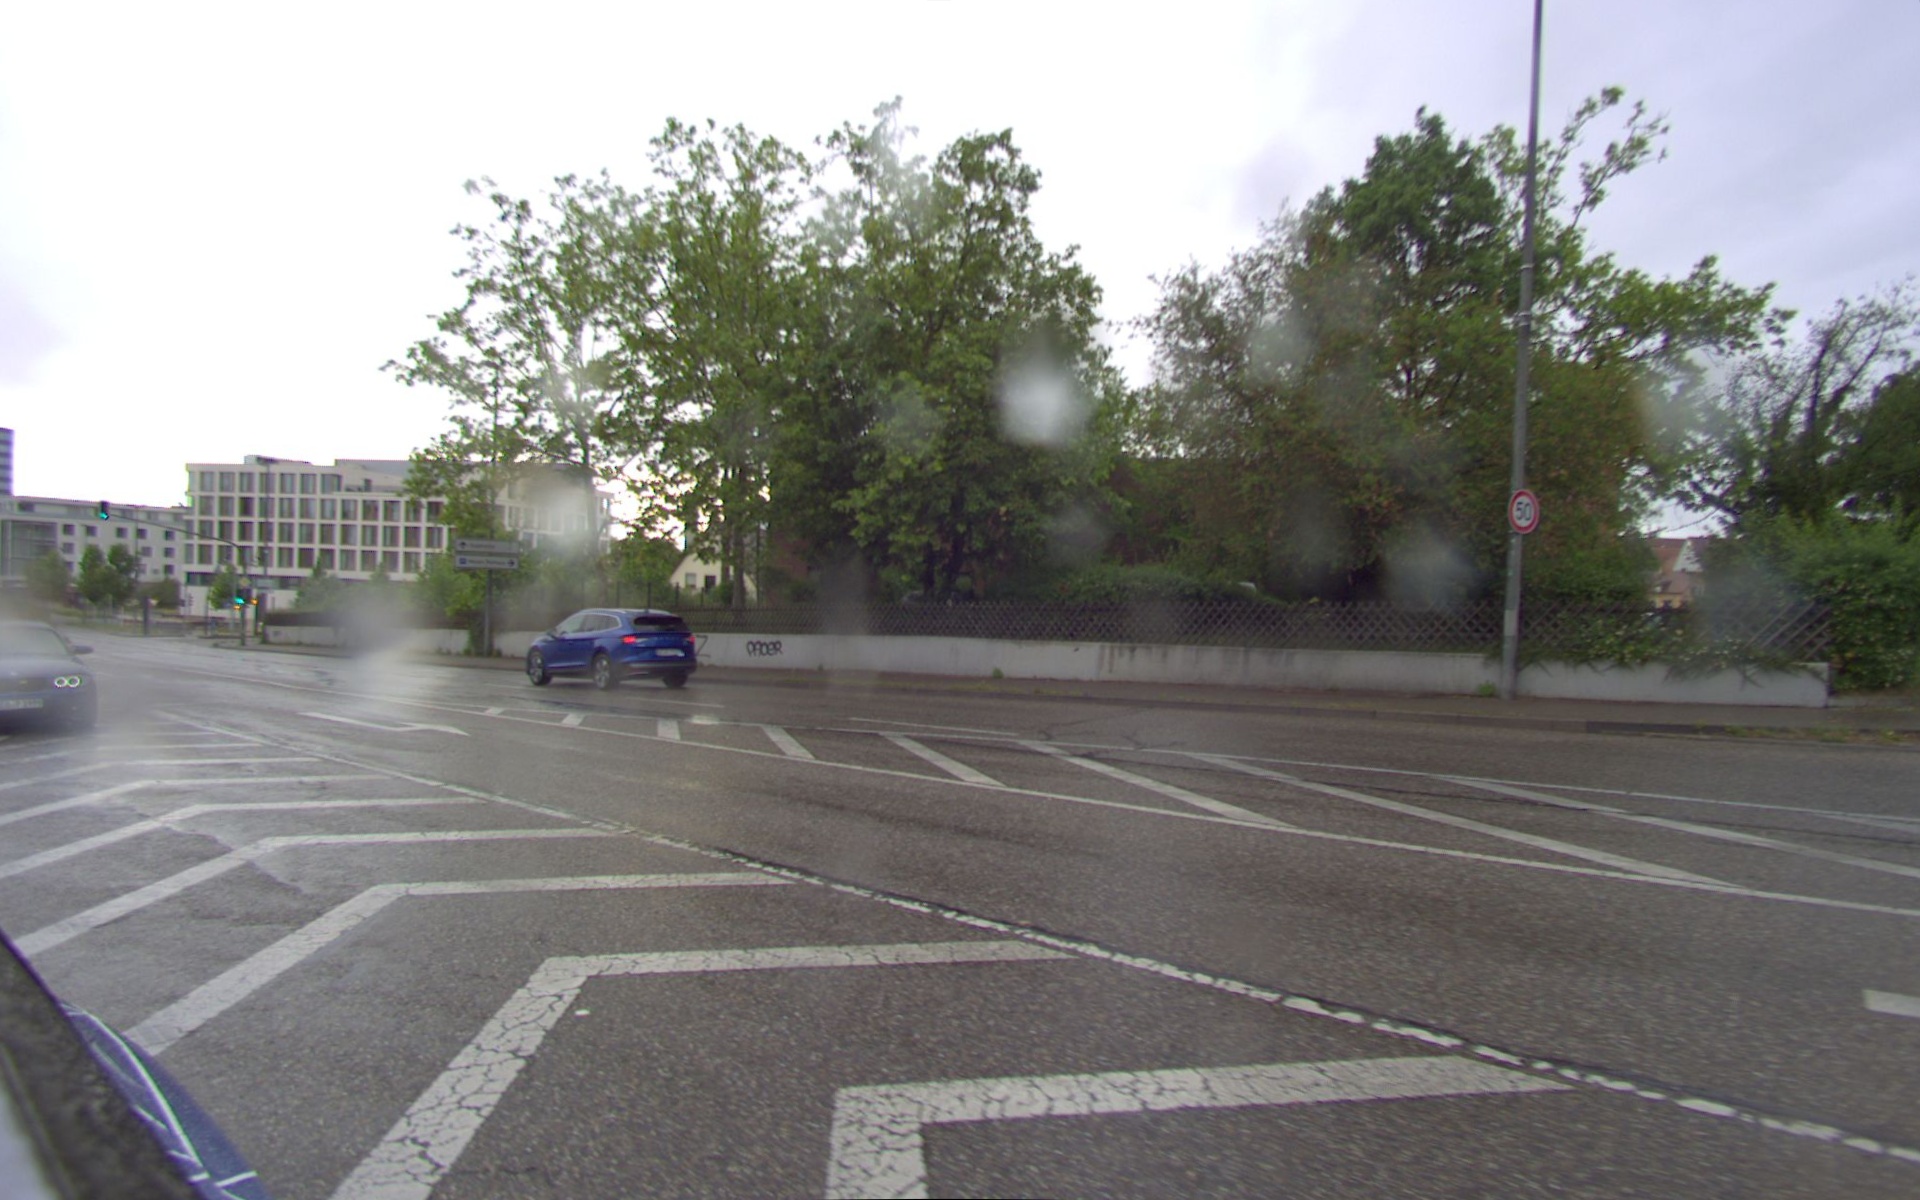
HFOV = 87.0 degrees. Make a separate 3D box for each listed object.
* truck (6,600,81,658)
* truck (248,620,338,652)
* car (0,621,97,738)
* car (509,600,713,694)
[{"bbox_3d":[-41.761,1.248,46.064,6.202,2.458,2.139,0,0,44],"label":"truck"},{"bbox_3d":[-55.772,3.030,84.749,2.211,2.557,6.137,1,-2,19],"label":"truck"},{"bbox_3d":[-13.037,1.003,13.681,3.706,1.353,1.762,0,0,44],"label":"car"},{"bbox_3d":[-7.386,0.876,21.176,4.703,1.706,1.973,0,1,41],"label":"car"}]
